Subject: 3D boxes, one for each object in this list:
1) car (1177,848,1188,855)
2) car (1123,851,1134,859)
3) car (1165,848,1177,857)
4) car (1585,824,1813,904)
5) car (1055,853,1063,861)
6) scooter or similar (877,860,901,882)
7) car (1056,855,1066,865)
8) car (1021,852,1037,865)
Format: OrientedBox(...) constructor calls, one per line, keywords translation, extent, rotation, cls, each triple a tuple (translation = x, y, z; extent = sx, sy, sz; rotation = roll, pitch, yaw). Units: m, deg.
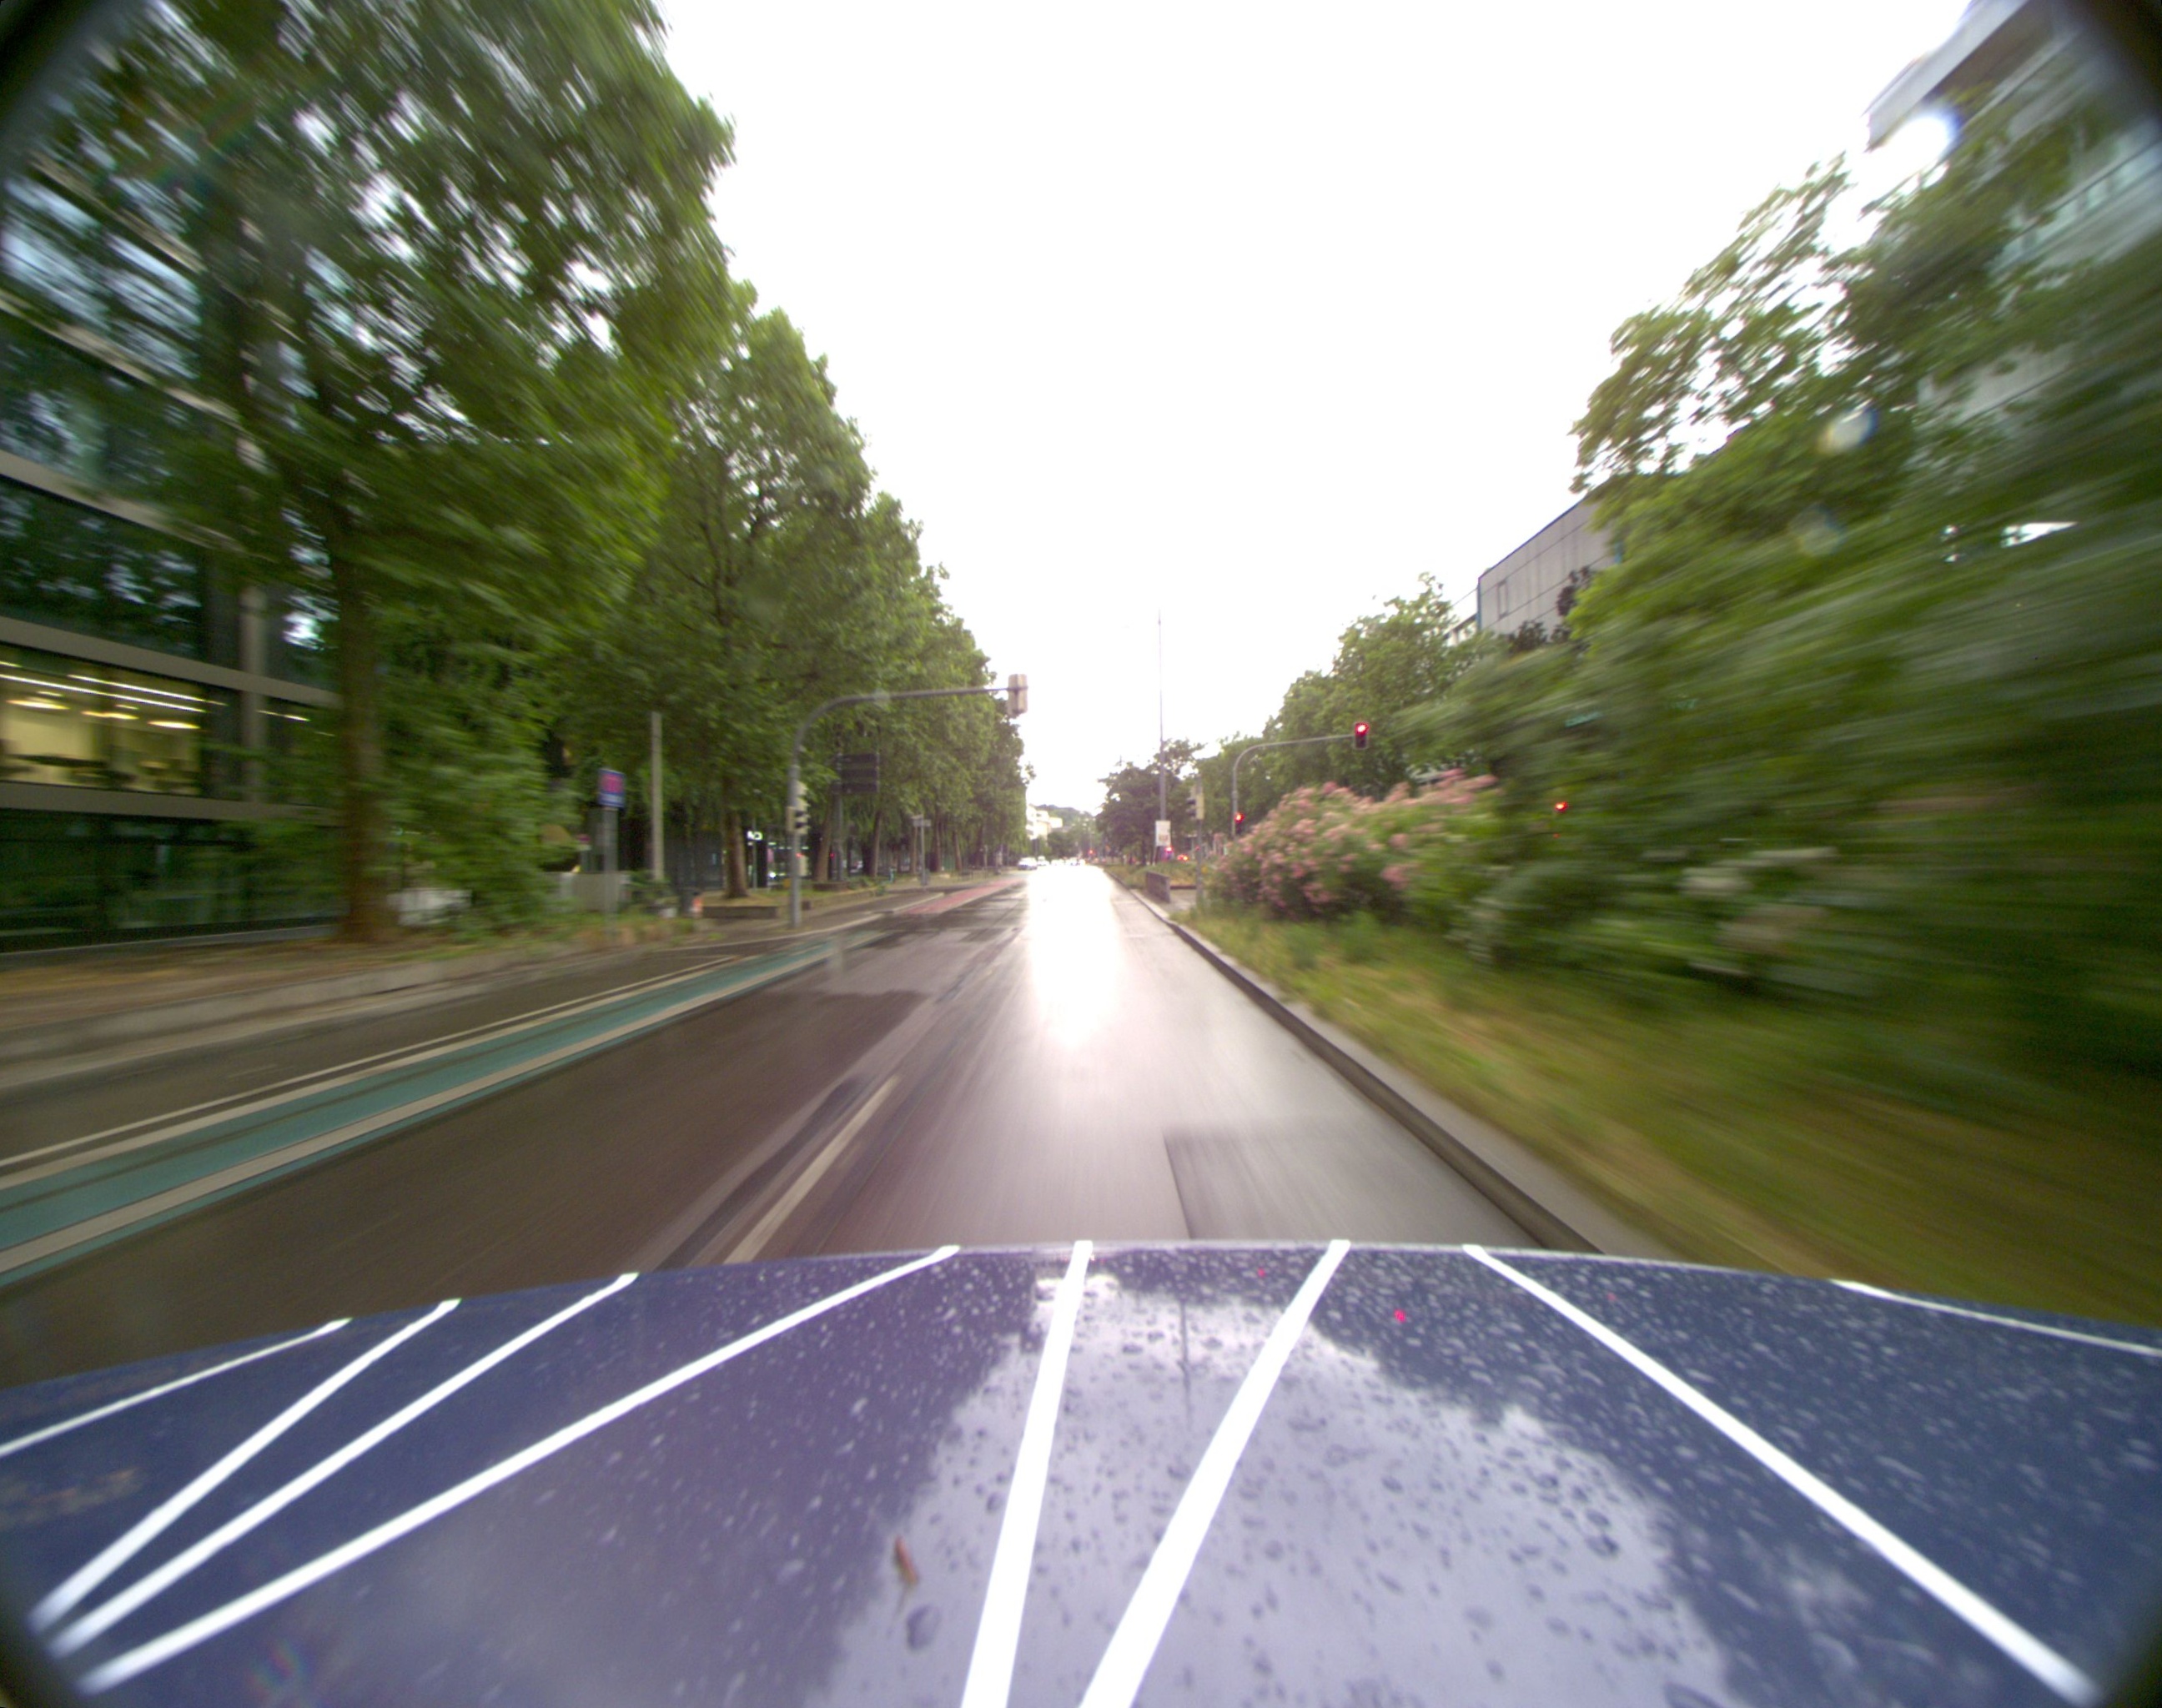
OrientedBox(translation=(20.818, -0.484, 156.533), extent=(1.765, 1.318, 3.737), rotation=(-4, 1, 1), cls="car")
OrientedBox(translation=(9.780, 0.204, 156.742), extent=(1.678, 1.381, 3.527), rotation=(-4, 1, -3), cls="car")
OrientedBox(translation=(18.028, -0.310, 151.889), extent=(1.781, 1.565, 3.728), rotation=(-4, 1, -1), cls="car")
OrientedBox(translation=(14.715, 0.164, 18.536), extent=(1.914, 1.575, 4.746), rotation=(-4, 1, 4), cls="car")
OrientedBox(translation=(-4.777, 0.585, 164.159), extent=(1.557, 1.534, 3.662), rotation=(-4, 1, 0), cls="car")
OrientedBox(translation=(-11.777, 1.027, 46.626), extent=(1.187, 1.275, 0.535), rotation=(-4, 2, -40), cls="scooter or similar")
OrientedBox(translation=(-3.659, 1.084, 139.473), extent=(1.780, 1.546, 3.929), rotation=(-4, 1, 0), cls="car")
OrientedBox(translation=(-7.333, 0.616, 108.314), extent=(1.932, 1.726, 4.597), rotation=(-4, 1, -1), cls="car")
